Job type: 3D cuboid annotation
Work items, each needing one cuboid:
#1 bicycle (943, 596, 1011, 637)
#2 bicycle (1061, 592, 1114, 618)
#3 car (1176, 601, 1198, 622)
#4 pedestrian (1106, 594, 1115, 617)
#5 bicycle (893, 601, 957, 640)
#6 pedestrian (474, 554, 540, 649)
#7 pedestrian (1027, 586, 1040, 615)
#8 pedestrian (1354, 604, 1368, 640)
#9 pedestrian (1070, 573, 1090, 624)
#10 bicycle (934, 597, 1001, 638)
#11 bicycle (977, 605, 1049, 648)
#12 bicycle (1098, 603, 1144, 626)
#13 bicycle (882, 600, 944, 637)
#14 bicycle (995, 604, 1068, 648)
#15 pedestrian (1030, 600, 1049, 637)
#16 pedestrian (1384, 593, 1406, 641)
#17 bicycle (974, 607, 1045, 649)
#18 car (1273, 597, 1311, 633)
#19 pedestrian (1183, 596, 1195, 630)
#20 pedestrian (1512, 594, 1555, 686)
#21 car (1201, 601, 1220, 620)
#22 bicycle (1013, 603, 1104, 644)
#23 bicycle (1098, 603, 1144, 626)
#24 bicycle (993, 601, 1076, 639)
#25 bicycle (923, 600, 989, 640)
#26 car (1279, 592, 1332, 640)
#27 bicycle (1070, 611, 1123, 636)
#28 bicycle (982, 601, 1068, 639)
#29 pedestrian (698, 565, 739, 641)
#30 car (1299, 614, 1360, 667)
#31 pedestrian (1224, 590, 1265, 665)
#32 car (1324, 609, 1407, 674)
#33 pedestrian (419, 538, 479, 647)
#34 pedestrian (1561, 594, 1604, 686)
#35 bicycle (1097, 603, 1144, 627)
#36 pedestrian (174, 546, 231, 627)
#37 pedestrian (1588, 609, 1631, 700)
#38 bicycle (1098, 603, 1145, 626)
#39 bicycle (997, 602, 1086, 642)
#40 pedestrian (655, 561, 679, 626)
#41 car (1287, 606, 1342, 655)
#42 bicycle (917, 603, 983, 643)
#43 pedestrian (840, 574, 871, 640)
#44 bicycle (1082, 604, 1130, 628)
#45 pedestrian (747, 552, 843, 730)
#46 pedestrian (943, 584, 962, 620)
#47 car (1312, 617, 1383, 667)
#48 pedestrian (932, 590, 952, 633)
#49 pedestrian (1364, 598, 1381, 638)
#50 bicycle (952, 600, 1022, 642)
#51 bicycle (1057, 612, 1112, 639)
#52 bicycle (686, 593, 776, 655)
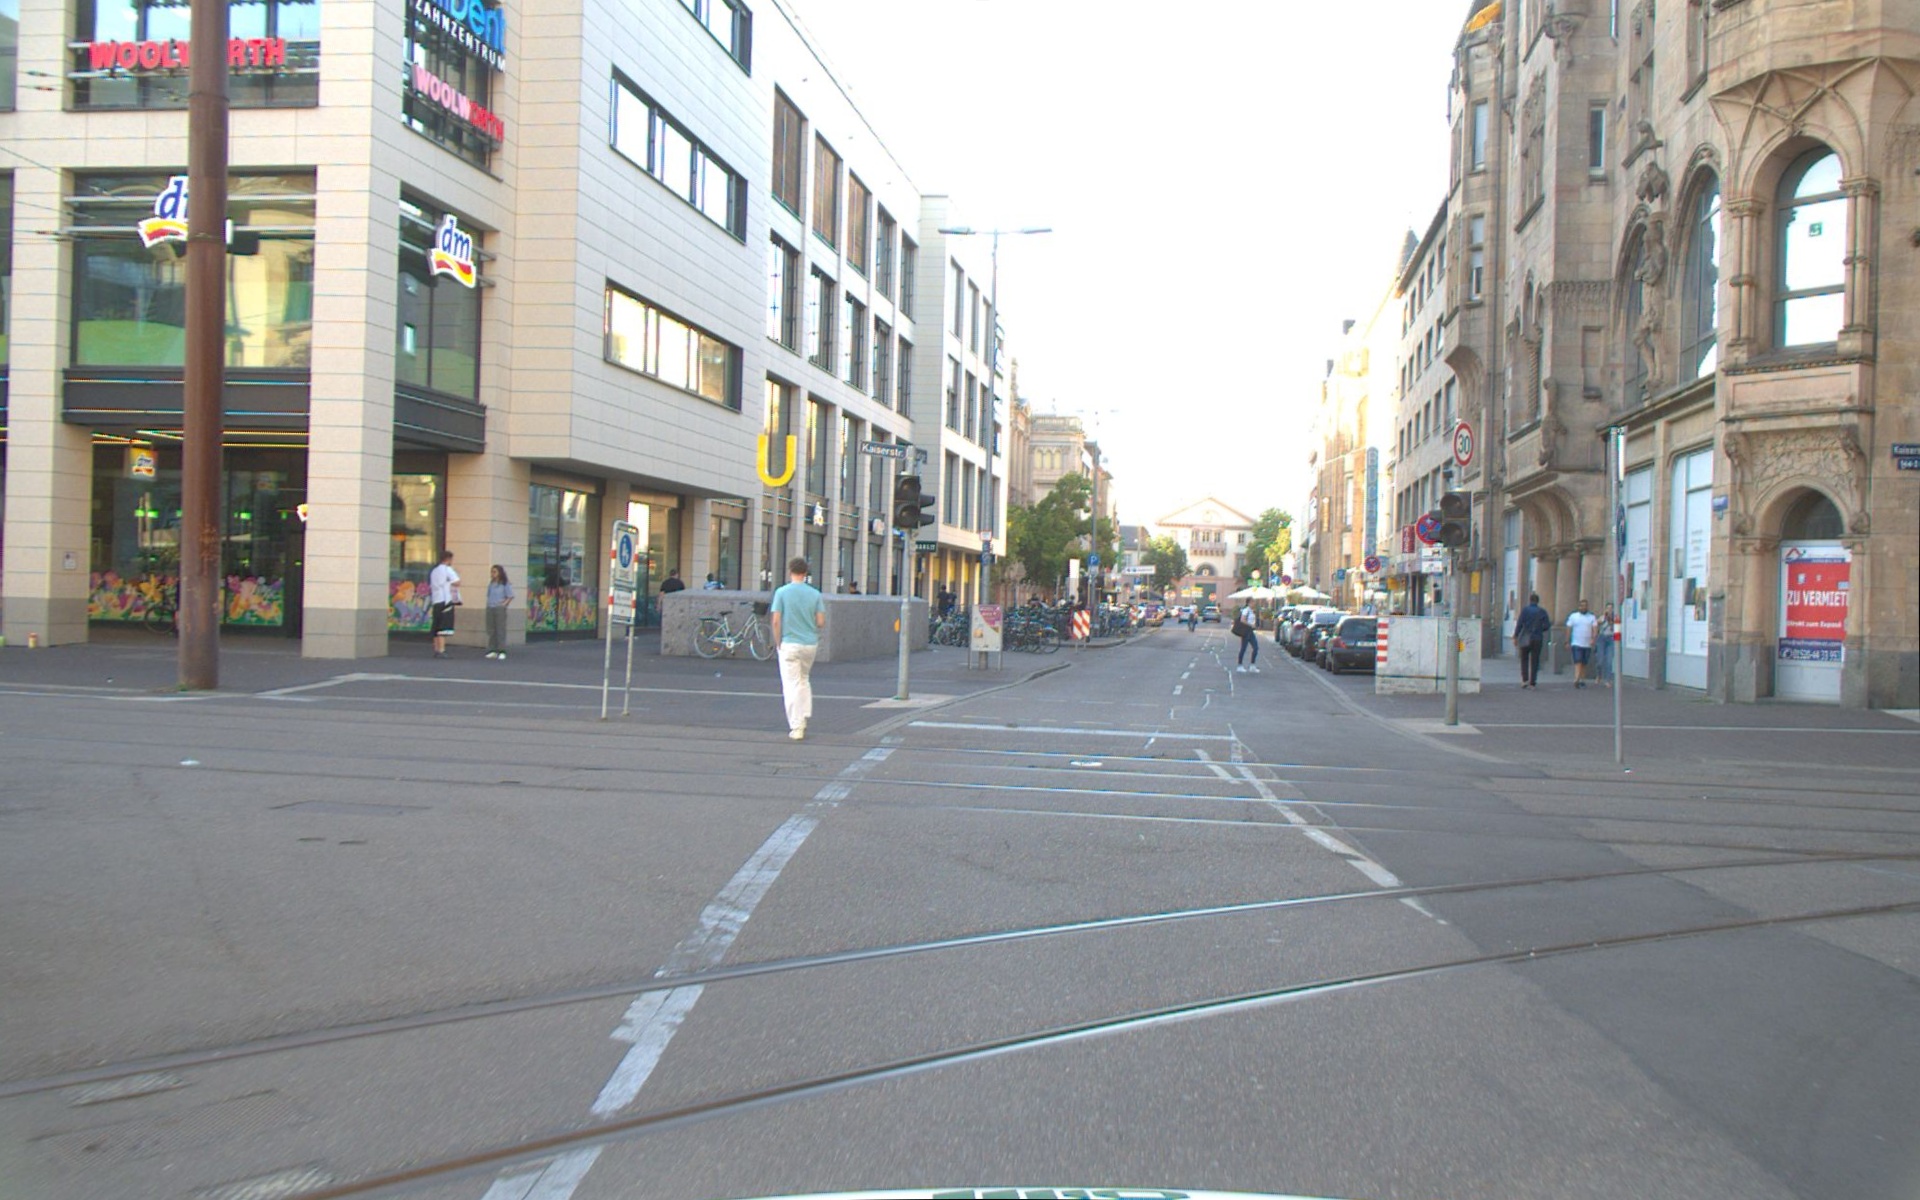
[{"bbox_3d":[0.518,0.498,49.523,1.938,1.141,0.555,3,0,-20],"label":"bicycle"},{"bbox_3d":[5.187,0.208,67.247,2.102,0.970,0.641,2,0,11],"label":"bicycle"},{"bbox_3d":[21.705,1.103,158.080,1.951,1.937,4.003,3,0,9],"label":"car"},{"bbox_3d":[9.979,0.344,109.985,0.538,1.512,0.566,1,0,7],"label":"pedestrian"},{"bbox_3d":[-1.122,0.664,53.078,1.938,1.141,0.555,3,0,-20],"label":"bicycle"},{"bbox_3d":[-8.341,0.032,30.466,0.751,1.688,0.816,3,0,23],"label":"pedestrian"},{"bbox_3d":[4.297,0.033,96.491,0.665,1.649,0.574,1,0,9],"label":"pedestrian"},{"bbox_3d":[20.434,1.121,84.281,0.630,1.776,0.672,1,0,7],"label":"pedestrian"},{"bbox_3d":[4.465,-0.058,61.567,0.643,1.855,0.528,1,0,-1],"label":"pedestrian"},{"bbox_3d":[0.234,0.527,50.234,1.938,1.141,0.555,3,0,-20],"label":"bicycle"},{"bbox_3d":[1.521,0.759,47.126,1.938,1.141,0.555,3,0,-20],"label":"bicycle"},{"bbox_3d":[7.637,0.674,78.287,2.102,1.047,0.641,2,0,11],"label":"bicycle"},{"bbox_3d":[-1.570,0.627,55.160,1.938,1.141,0.555,3,0,-20],"label":"bicycle"},{"bbox_3d":[1.996,0.724,46.273,1.938,1.141,0.555,3,0,-20],"label":"bicycle"},{"bbox_3d":[3.340,0.769,69.494,0.735,1.556,0.485,1,0,9],"label":"pedestrian"},{"bbox_3d":[15.570,0.600,59.178,0.630,1.719,0.672,1,0,7],"label":"pedestrian"},{"bbox_3d":[1.437,0.810,47.839,1.938,1.141,0.555,3,0,-20],"label":"bicycle"},{"bbox_3d":[15.982,0.700,79.678,1.643,1.695,3.676,0,0,9],"label":"car"},{"bbox_3d":[12.628,0.732,91.086,0.586,1.855,0.452,1,0,15],"label":"pedestrian"},{"bbox_3d":[10.916,0.746,31.508,0.611,1.719,0.672,1,0,7],"label":"pedestrian"},{"bbox_3d":[26.928,1.135,177.824,1.951,1.937,4.003,3,0,9],"label":"car"},{"bbox_3d":[3.195,0.764,53.679,2.841,1.277,0.800,1,0,-17],"label":"bicycle"},{"bbox_3d":[7.697,0.673,79.013,2.102,1.047,0.641,2,0,11],"label":"bicycle"},{"bbox_3d":[2.634,0.702,58.585,2.841,1.277,0.800,1,0,-17],"label":"bicycle"},{"bbox_3d":[-0.121,0.612,50.877,1.938,1.141,0.555,3,0,-20],"label":"bicycle"},{"bbox_3d":[13.435,0.615,64.461,1.761,1.799,4.401,0,0,9],"label":"car"},{"bbox_3d":[5.629,0.979,68.215,2.102,0.970,0.641,2,0,11],"label":"bicycle"},{"bbox_3d":[2.252,0.691,57.153,2.841,1.277,0.800,1,0,-17],"label":"bicycle"},{"bbox_3d":[-5.853,0.077,40.147,0.765,1.781,0.600,3,0,6],"label":"pedestrian"},{"bbox_3d":[11.555,1.229,51.886,1.643,1.574,3.676,0,0,9],"label":"car"},{"bbox_3d":[6.740,0.641,39.219,0.817,1.751,0.682,1,0,2],"label":"pedestrian"},{"bbox_3d":[10.103,1.008,41.405,1.643,1.449,3.676,3,0,9],"label":"car"},{"bbox_3d":[-9.083,-0.123,29.407,0.561,1.887,0.816,3,0,21],"label":"pedestrian"},{"bbox_3d":[11.903,0.757,31.641,0.611,1.719,0.672,1,0,7],"label":"pedestrian"},{"bbox_3d":[7.418,0.674,76.492,2.102,1.047,0.641,2,0,11],"label":"bicycle"},{"bbox_3d":[-14.937,-0.269,32.616,0.561,1.553,0.790,3,0,21],"label":"pedestrian"},{"bbox_3d":[12.593,1.050,32.063,0.611,1.719,0.626,1,0,7],"label":"pedestrian"},{"bbox_3d":[7.529,0.675,77.254,2.102,1.047,0.641,2,0,11],"label":"bicycle"},{"bbox_3d":[2.696,0.730,54.861,2.841,1.277,0.800,1,0,-17],"label":"bicycle"},{"bbox_3d":[-7.040,-0.152,39.709,0.381,1.541,0.506,2,0,8],"label":"pedestrian"},{"bbox_3d":[12.380,1.034,57.946,1.643,1.641,4.031,0,0,9],"label":"car"},{"bbox_3d":[-0.318,0.715,51.883,1.938,1.141,0.555,3,0,-20],"label":"bicycle"},{"bbox_3d":[-2.774,0.180,43.918,0.666,1.710,0.600,3,0,6],"label":"pedestrian"},{"bbox_3d":[6.556,0.716,74.234,2.102,1.047,0.641,2,0,11],"label":"bicycle"},{"bbox_3d":[-1.725,0.425,17.422,0.848,1.791,0.768,3,0,0],"label":"pedestrian"},{"bbox_3d":[-0.338,0.090,76.537,0.715,1.649,0.662,1,0,9],"label":"pedestrian"},{"bbox_3d":[10.888,1.158,46.721,1.643,1.313,4.050,0,0,9],"label":"car"},{"bbox_3d":[-0.689,0.437,63.747,0.665,1.649,0.574,1,0,9],"label":"pedestrian"},{"bbox_3d":[19.143,0.840,76.766,0.630,1.831,0.672,1,0,7],"label":"pedestrian"},{"bbox_3d":[0.803,0.626,48.825,1.938,1.141,0.555,3,0,-20],"label":"bicycle"},{"bbox_3d":[4.913,1.004,65.285,2.102,0.970,0.641,2,0,11],"label":"bicycle"},{"bbox_3d":[-4.548,0.474,32.857,1.660,1.141,0.451,3,0,12],"label":"bicycle"}]
